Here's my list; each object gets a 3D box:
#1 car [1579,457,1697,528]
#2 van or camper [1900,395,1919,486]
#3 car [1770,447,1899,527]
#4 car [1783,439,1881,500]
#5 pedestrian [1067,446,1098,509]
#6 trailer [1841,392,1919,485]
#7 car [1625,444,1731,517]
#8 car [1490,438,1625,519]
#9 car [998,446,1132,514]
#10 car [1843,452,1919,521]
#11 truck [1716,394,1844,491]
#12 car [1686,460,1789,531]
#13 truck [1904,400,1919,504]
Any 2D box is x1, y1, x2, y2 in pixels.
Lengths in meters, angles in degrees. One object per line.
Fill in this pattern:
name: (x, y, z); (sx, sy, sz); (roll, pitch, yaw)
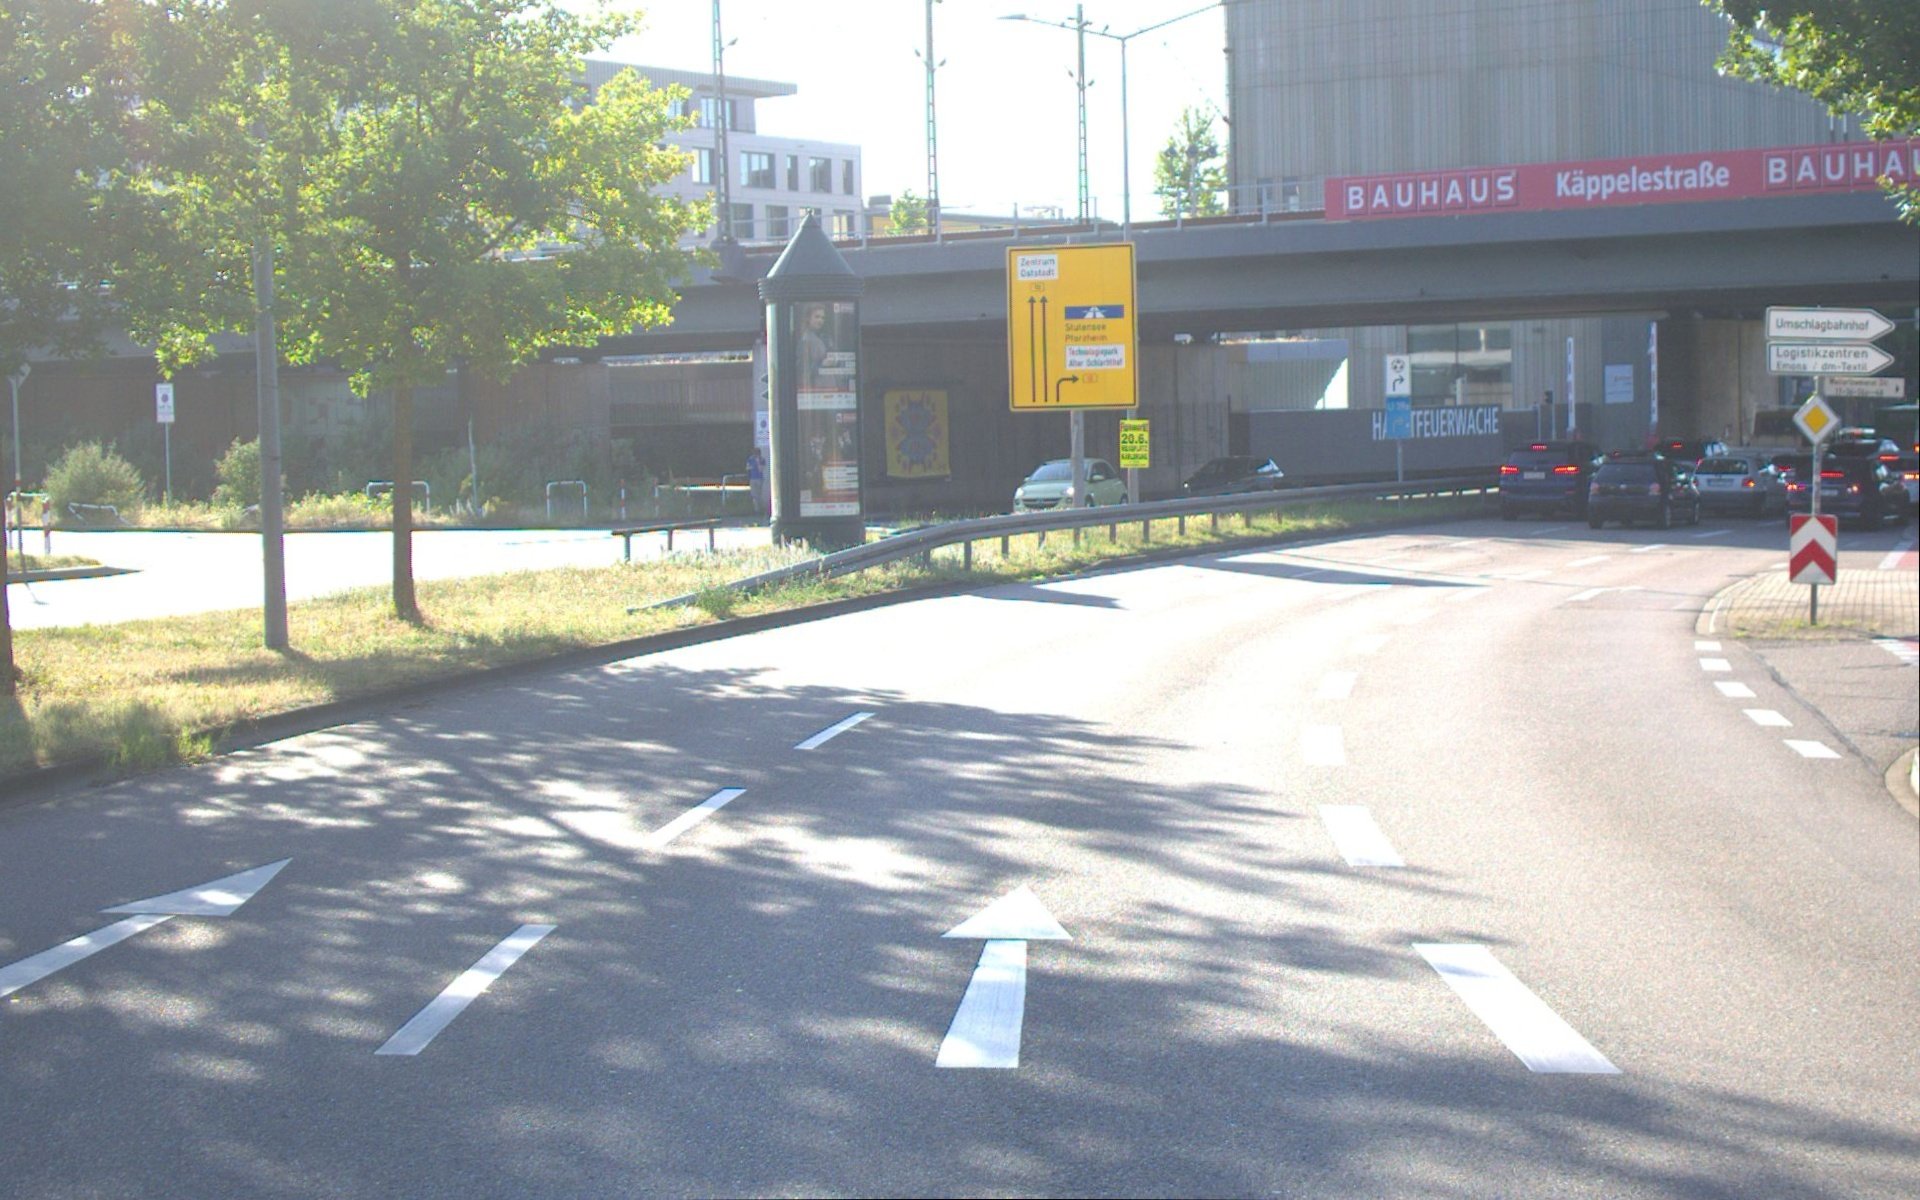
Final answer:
car: (13.960, -2.228, 70.683); (1.583, 1.403, 3.827); (1, 3, 23)
van or camper: (28.915, -4.581, 98.953); (1.997, 2.561, 5.908); (1, 3, 32)
car: (18.061, -2.360, 70.914); (1.743, 1.449, 4.600); (1, 4, 25)
car: (22.452, -3.367, 88.405); (1.584, 1.527, 3.826); (1, 3, 28)
pedestrian: (3.702, -3.697, 103.789); (0.695, 1.897, 0.664); (1, 3, 30)
trailer: (25.629, -4.412, 94.346); (1.867, 2.456, 3.826); (0, 2, 29)
car: (18.247, -3.041, 87.247); (1.843, 1.713, 3.996); (-3, 1, 23)
car: (13.183, -2.688, 75.665); (1.832, 1.732, 4.456); (0, 2, 25)
car: (2.409, -2.728, 78.049); (1.742, 1.457, 3.761); (-1, 2, 24)
car: (21.309, -2.595, 77.760); (1.775, 1.490, 3.826); (-1, 2, 27)
truck: (22.347, -4.271, 93.559); (2.031, 2.547, 5.529); (1, 3, 28)
car: (17.395, -2.355, 76.816); (1.549, 1.418, 3.413); (-3, 2, 24)
truck: (24.791, -3.631, 84.779); (2.114, 2.511, 4.395); (0, 1, 26)
